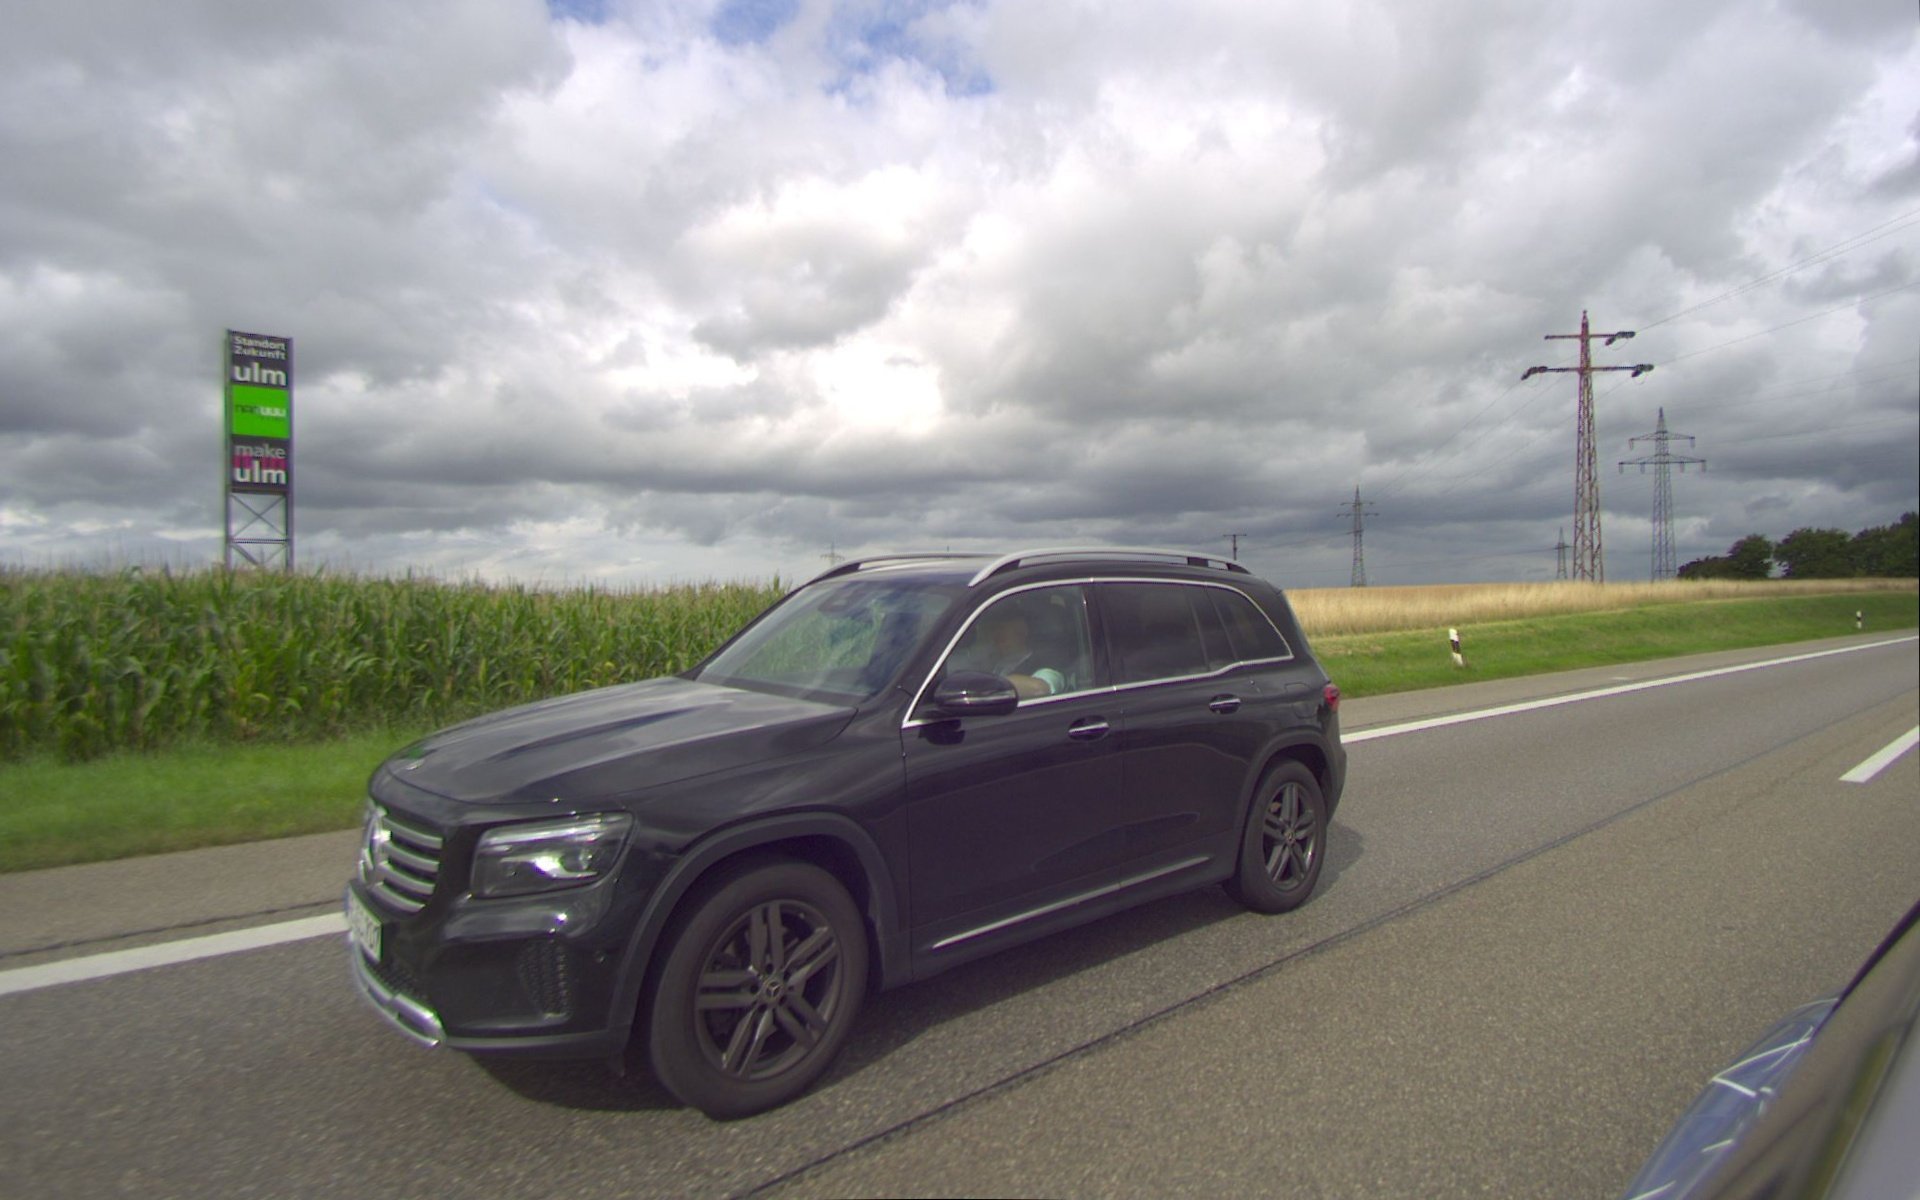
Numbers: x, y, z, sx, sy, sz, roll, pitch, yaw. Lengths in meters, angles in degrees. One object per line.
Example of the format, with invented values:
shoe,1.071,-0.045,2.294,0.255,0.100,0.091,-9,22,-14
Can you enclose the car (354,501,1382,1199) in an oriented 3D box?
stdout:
car,-0.041,0.549,4.468,4.285,1.629,1.836,-1,1,-41
